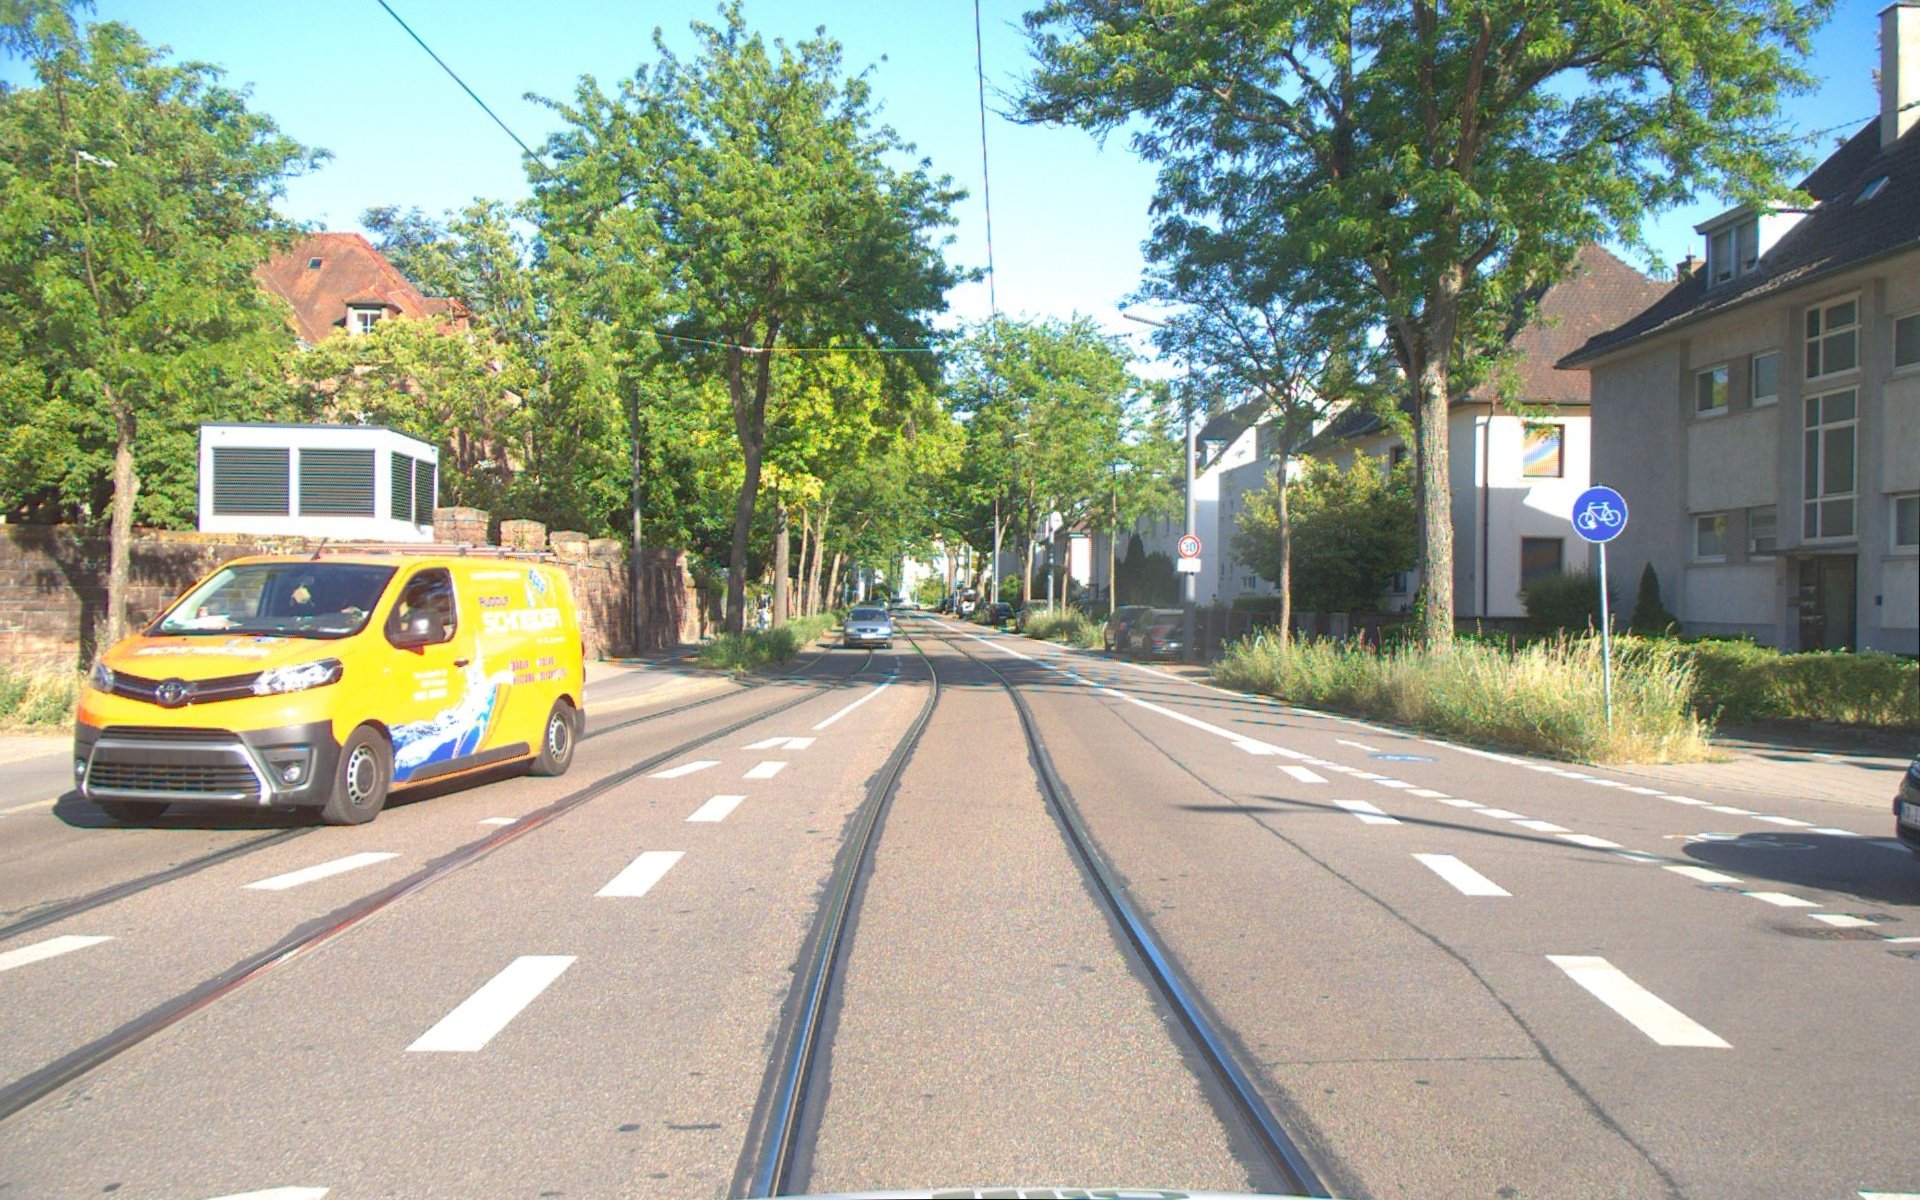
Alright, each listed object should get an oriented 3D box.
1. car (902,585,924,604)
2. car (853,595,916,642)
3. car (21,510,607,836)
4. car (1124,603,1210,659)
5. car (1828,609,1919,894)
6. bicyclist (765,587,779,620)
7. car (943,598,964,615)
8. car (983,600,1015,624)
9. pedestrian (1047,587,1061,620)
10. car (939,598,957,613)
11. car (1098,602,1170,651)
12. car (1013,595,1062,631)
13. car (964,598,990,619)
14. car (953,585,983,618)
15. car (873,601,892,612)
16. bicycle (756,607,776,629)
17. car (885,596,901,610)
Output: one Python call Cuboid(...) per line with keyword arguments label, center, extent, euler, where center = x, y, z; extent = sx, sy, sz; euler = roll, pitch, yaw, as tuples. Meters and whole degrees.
Cuboid(label="car", center=(-6.361, -0.705, 221.736), extent=(1.961, 2.501, 4.489), euler=(0, 0, -16))
Cuboid(label="car", center=(-2.589, 0.639, 57.748), extent=(1.952, 1.551, 4.579), euler=(1, 0, 0))
Cuboid(label="car", center=(-4.573, 0.446, 12.750), extent=(1.951, 2.000, 4.938), euler=(0, 0, 9))
Cuboid(label="car", center=(5.942, 0.851, 47.863), extent=(1.713, 1.521, 4.440), euler=(0, 0, -3))
Cuboid(label="car", center=(7.156, 0.848, 8.940), extent=(3.902, 1.534, 1.983), euler=(1, 0, 7))
Cuboid(label="bicyclist", center=(-8.957, 0.146, 78.883), extent=(0.581, 1.554, 1.060), euler=(0, 0, -2))
Cuboid(label="car", center=(-0.698, 0.711, 175.844), extent=(1.963, 1.704, 4.389), euler=(-2, 0, -3))
Cuboid(label="car", center=(2.633, 0.790, 112.738), extent=(1.749, 1.473, 4.297), euler=(-3, 0, -5))
Cuboid(label="pedestrian", center=(5.536, 0.219, 97.374), extent=(0.613, 1.903, 0.731), euler=(-2, 0, -4))
Cuboid(label="car", center=(-1.374, 0.650, 193.369), extent=(1.961, 1.704, 4.393), euler=(-2, 0, 1))
Cuboid(label="car", center=(5.630, 0.824, 53.860), extent=(1.713, 1.521, 3.994), euler=(0, 0, -3))
Cuboid(label="car", center=(4.009, 0.661, 86.230), extent=(1.954, 1.734, 4.474), euler=(-3, 0, -4))
Cuboid(label="car", center=(1.250, 0.620, 122.159), extent=(1.595, 1.422, 3.643), euler=(-3, 0, -3))
Cuboid(label="car", center=(0.656, 0.134, 143.914), extent=(2.201, 2.700, 5.582), euler=(-1, 0, -3))
Cuboid(label="car", center=(-11.529, 0.940, 246.547), extent=(1.970, 1.588, 4.374), euler=(0, 0, -15))
Cuboid(label="bicycle", center=(-8.760, 0.801, 74.786), extent=(0.697, 0.977, 2.093), euler=(0, 0, -2))
Cuboid(label="car", center=(-8.098, 0.376, 200.952), extent=(1.829, 1.704, 4.169), euler=(0, 0, -4))
